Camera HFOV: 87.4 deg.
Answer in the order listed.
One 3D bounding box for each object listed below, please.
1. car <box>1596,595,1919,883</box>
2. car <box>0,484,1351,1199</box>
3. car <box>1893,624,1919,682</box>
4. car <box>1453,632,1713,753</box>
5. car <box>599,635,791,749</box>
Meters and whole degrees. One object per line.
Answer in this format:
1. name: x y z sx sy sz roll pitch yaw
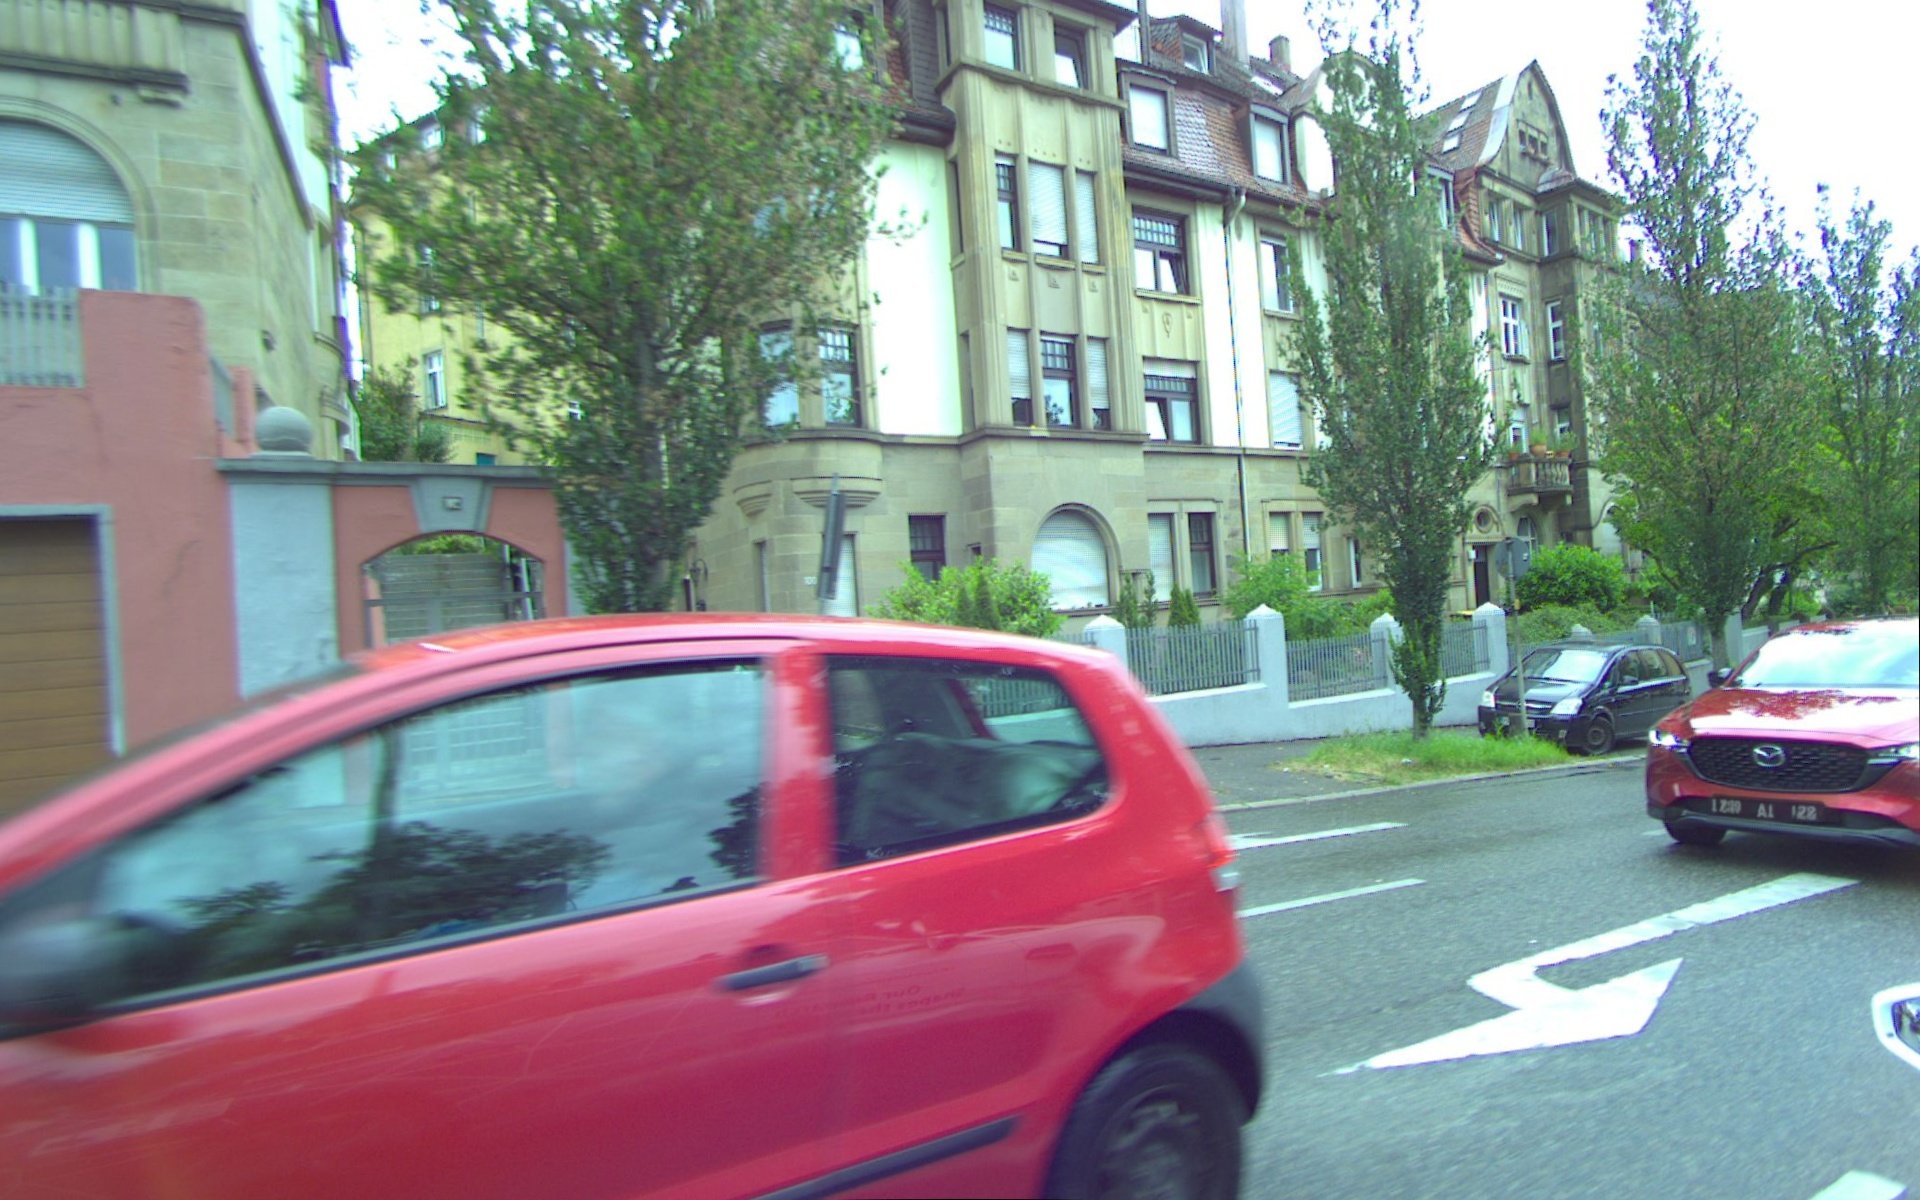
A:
1. car: 6.765 0.861 7.388 4.231 1.604 1.836 1 -4 -32
2. car: -1.187 0.674 2.187 3.950 1.589 1.648 1 -1 -28
3. car: 29.590 1.532 30.070 4.161 1.672 1.774 2 -6 -39
4. car: 9.771 1.370 15.713 3.953 1.634 1.806 2 -1 -30
5. car: -3.968 1.250 14.652 1.769 1.417 3.533 0 -3 -32
